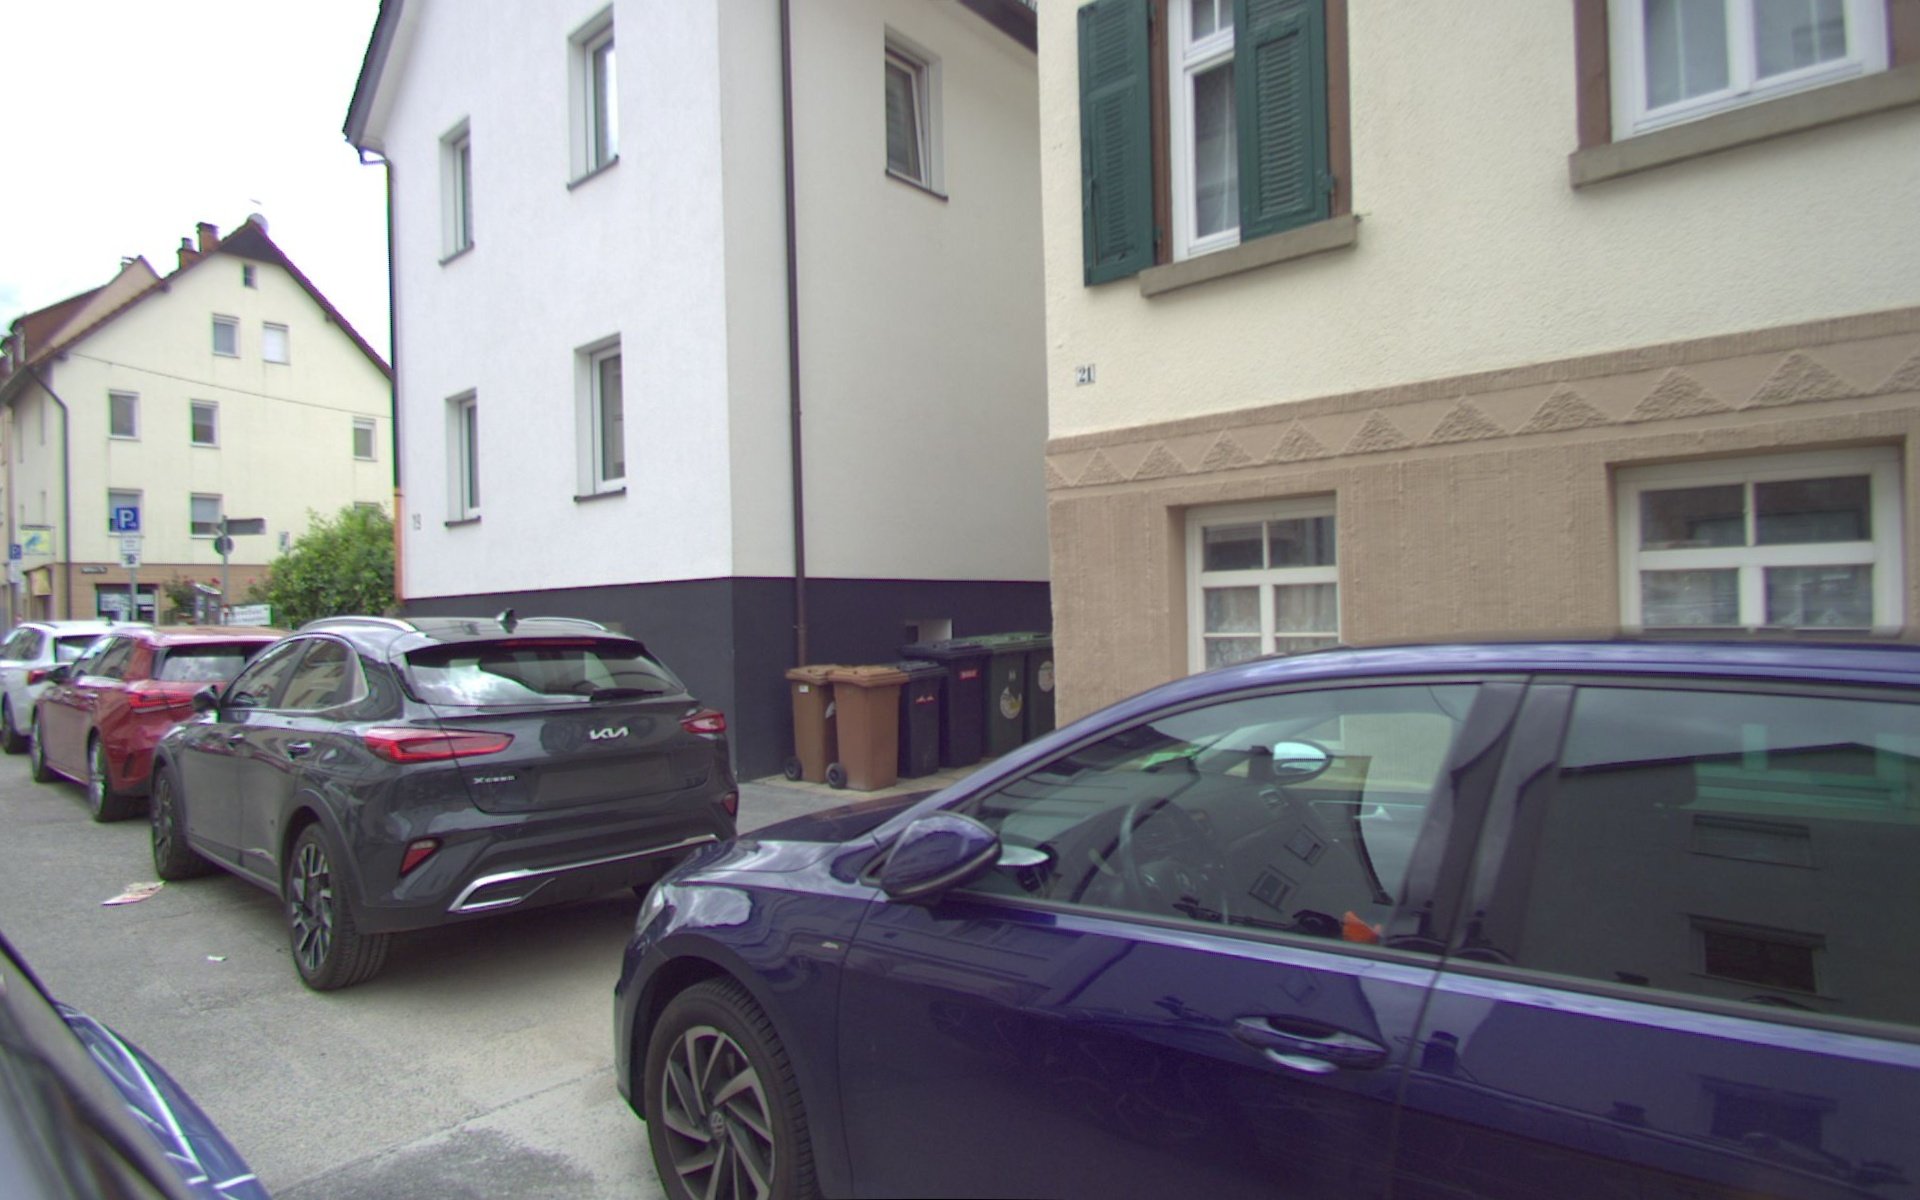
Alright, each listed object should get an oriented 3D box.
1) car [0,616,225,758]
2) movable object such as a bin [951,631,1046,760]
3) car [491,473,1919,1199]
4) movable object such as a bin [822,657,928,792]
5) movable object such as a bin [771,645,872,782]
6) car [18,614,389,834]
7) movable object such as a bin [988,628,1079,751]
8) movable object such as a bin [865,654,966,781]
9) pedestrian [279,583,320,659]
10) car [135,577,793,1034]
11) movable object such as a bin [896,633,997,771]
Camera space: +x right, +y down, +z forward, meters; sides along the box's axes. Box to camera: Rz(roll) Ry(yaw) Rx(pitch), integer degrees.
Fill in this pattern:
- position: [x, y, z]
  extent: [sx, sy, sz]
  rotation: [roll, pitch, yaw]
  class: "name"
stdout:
- position: [-10.792, 0.934, 12.400]
  extent: [4.344, 1.442, 1.735]
  rotation: [0, -2, 38]
  class: "car"
- position: [0.347, 0.840, 9.147]
  extent: [0.668, 1.094, 0.508]
  rotation: [-2, 0, 41]
  class: "movable object such as a bin"
- position: [0.837, 0.650, 2.160]
  extent: [4.369, 1.467, 1.733]
  rotation: [-1, -2, 42]
  class: "car"
- position: [-0.654, 0.928, 7.749]
  extent: [0.603, 0.939, 0.508]
  rotation: [-2, 0, 41]
  class: "movable object such as a bin"
- position: [-1.118, 0.890, 8.178]
  extent: [0.603, 1.023, 0.508]
  rotation: [-2, 0, 41]
  class: "movable object such as a bin"
- position: [-6.709, 0.882, 8.813]
  extent: [4.065, 1.460, 1.733]
  rotation: [0, -2, 41]
  class: "car"
- position: [0.694, 0.826, 9.588]
  extent: [0.668, 1.094, 0.508]
  rotation: [-2, 0, 41]
  class: "movable object such as a bin"
- position: [-0.359, 0.926, 8.168]
  extent: [0.603, 0.939, 0.508]
  rotation: [-2, 0, 41]
  class: "movable object such as a bin"
- position: [-14.849, 0.458, 22.741]
  extent: [0.624, 1.644, 0.542]
  rotation: [2, 2, 31]
  class: "pedestrian"
- position: [-2.876, 0.728, 5.407]
  extent: [4.083, 1.521, 1.733]
  rotation: [-1, -2, 42]
  class: "car"
- position: [-0.117, 0.845, 8.637]
  extent: [0.668, 1.094, 0.508]
  rotation: [-2, 0, 41]
  class: "movable object such as a bin"
